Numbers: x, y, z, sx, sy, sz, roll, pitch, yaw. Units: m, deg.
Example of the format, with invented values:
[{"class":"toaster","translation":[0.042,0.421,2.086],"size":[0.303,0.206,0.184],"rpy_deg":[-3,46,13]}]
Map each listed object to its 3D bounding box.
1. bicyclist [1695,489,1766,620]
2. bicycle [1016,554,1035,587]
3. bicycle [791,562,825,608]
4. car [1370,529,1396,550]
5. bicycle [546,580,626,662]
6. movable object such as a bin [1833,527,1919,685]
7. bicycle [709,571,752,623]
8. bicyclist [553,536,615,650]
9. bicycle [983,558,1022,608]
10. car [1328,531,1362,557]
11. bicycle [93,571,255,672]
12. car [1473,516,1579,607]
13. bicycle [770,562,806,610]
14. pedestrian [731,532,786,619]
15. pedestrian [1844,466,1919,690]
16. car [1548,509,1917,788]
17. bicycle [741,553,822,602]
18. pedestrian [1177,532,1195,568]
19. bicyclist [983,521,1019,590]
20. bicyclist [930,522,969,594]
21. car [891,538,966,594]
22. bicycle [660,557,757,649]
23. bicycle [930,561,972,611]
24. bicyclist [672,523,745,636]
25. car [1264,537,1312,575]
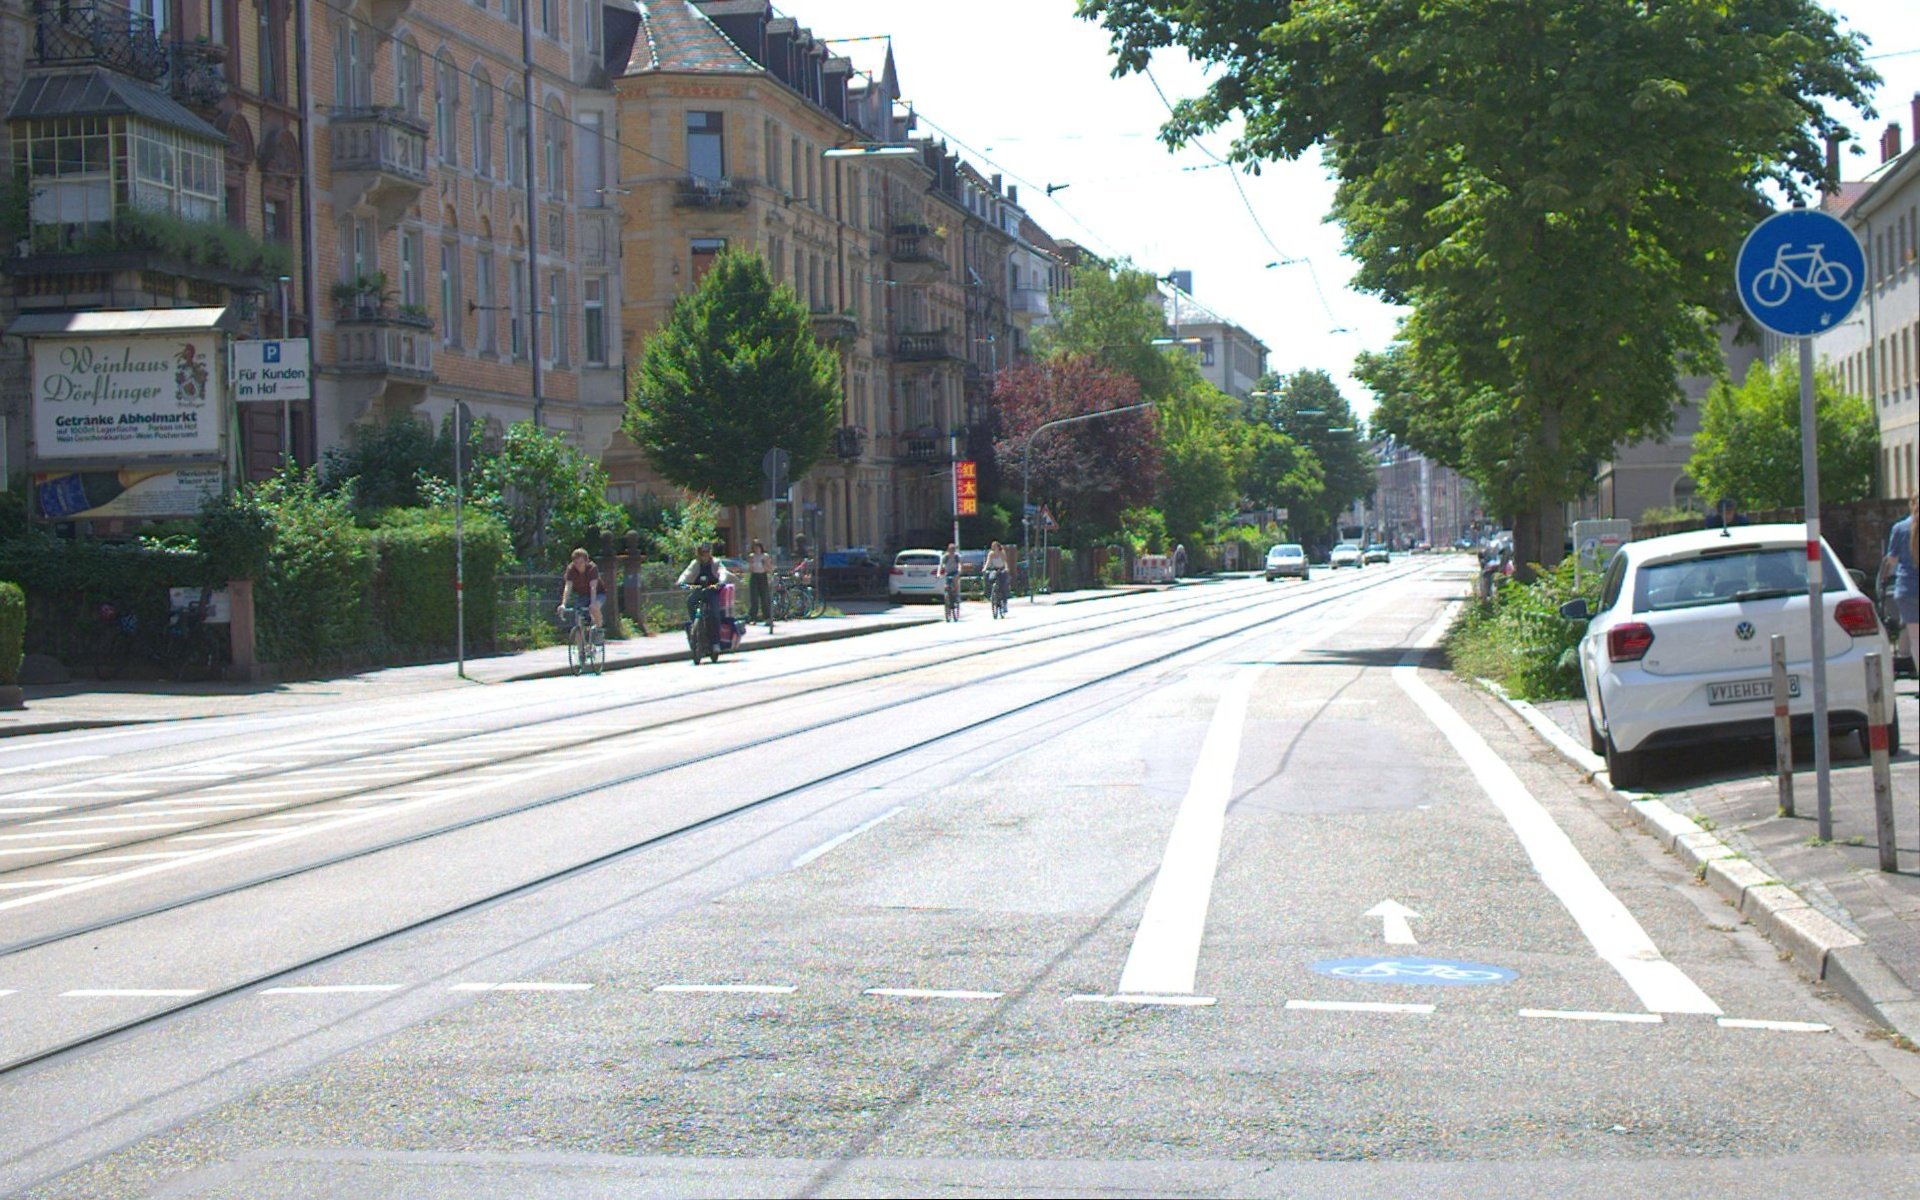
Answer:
[{"class":"bicyclist","translation":[8.727,-0.519,38.954],"size":[0.711,1.447,1.010],"rpy_deg":[-2,1,11]},{"class":"bicycle","translation":[2.099,-0.954,110.473],"size":[0.454,1.000,1.806],"rpy_deg":[-2,1,6]},{"class":"bicycle","translation":[-3.352,-0.333,75.810],"size":[0.439,0.980,1.710],"rpy_deg":[-2,1,7]},{"class":"car","translation":[30.727,-4.383,249.634],"size":[1.687,1.449,3.747],"rpy_deg":[-2,1,9]},{"class":"bicycle","translation":[-5.086,0.278,46.812],"size":[0.568,1.034,1.828],"rpy_deg":[-2,1,10]},{"class":"movable object such as a bin","translation":[7.422,0.034,27.429],"size":[0.697,1.182,1.036],"rpy_deg":[-5,1,8]},{"class":"bicycle","translation":[-4.580,-0.066,68.736],"size":[0.496,0.984,1.710],"rpy_deg":[2,2,7]},{"class":"bicyclist","translation":[-5.111,-0.107,46.771],"size":[0.563,1.510,0.891],"rpy_deg":[-2,1,10]},{"class":"bicycle","translation":[0.965,-0.385,78.058],"size":[0.581,1.074,1.890],"rpy_deg":[-3,1,9]},{"class":"car","translation":[22.592,-3.295,201.636],"size":[1.757,1.419,3.999],"rpy_deg":[-2,1,10]},{"class":"bicycle","translation":[-9.728,0.262,42.562],"size":[1.871,1.223,0.568],"rpy_deg":[0,1,7]},{"class":"car","translation":[10.452,-0.743,63.704],"size":[1.733,1.546,4.453],"rpy_deg":[-2,1,7]},{"class":"bicycle","translation":[-3.682,-0.309,73.796],"size":[0.439,0.980,1.710],"rpy_deg":[-2,1,7]},{"class":"pedestrian","translation":[-4.086,-0.504,69.759],"size":[0.851,1.717,1.138],"rpy_deg":[1,1,10]},{"class":"pedestrian","translation":[7.282,-0.184,26.480],"size":[0.697,1.664,0.869],"rpy_deg":[-5,1,8]},{"class":"car","translation":[4.737,0.232,21.597],"size":[1.778,1.405,4.155],"rpy_deg":[-6,0,8]},{"class":"bicycle","translation":[-4.017,-0.505,77.299],"size":[1.706,1.033,0.551],"rpy_deg":[-1,1,14]},{"class":"pedestrian","translation":[10.242,-2.261,155.978],"size":[0.751,1.623,0.833],"rpy_deg":[-1,1,6]},{"class":"bicyclist","translation":[0.931,-1.010,78.066],"size":[0.592,1.539,0.952],"rpy_deg":[-3,1,9]},{"class":"bicyclist","translation":[-0.234,-0.960,78.037],"size":[0.634,1.579,1.028],"rpy_deg":[-3,1,9]},{"class":"car","translation":[-0.915,-1.033,101.790],"size":[1.866,1.594,4.101],"rpy_deg":[-1,1,4]},{"class":"bicycle","translation":[-3.710,0.024,50.918],"size":[0.808,1.267,2.550],"rpy_deg":[-2,1,10]},{"class":"bicycle","translation":[-0.199,-0.329,78.091],"size":[0.629,1.074,1.874],"rpy_deg":[-3,1,9]},{"class":"bicyclist","translation":[-3.727,-0.307,50.919],"size":[0.808,1.624,0.980],"rpy_deg":[-2,1,10]},{"class":"car","translation":[13.637,-1.834,142.791],"size":[1.685,1.444,3.999],"rpy_deg":[-2,1,9]}]
